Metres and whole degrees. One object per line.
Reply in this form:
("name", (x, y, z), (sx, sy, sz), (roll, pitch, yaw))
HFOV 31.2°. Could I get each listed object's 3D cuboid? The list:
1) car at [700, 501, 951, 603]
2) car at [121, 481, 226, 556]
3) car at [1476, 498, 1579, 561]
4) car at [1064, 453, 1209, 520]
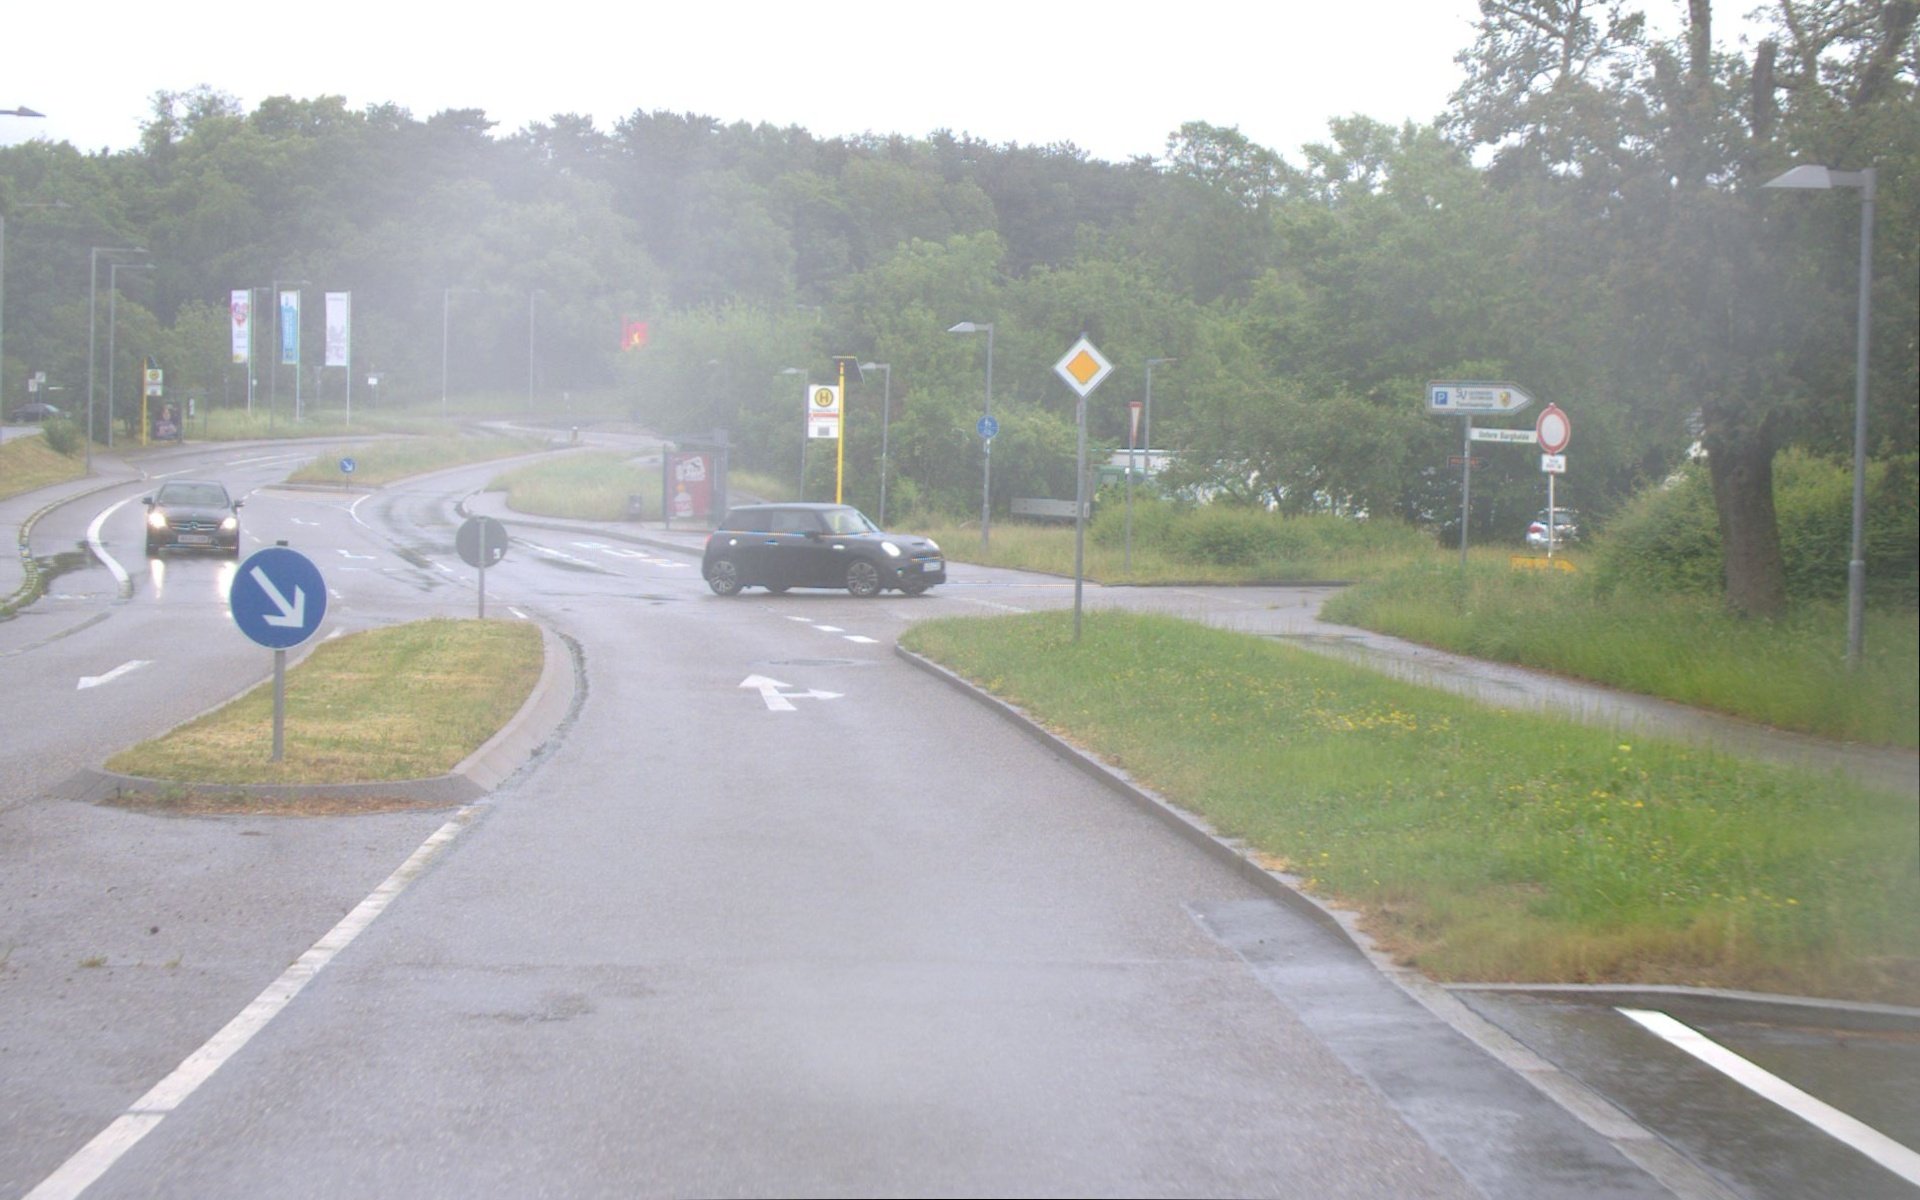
("car", (-2.046, -0.745, 52.544), (3.524, 1.351, 1.459), (3, 2, 12))
("car", (-15.755, -1.652, 68.952), (1.967, 1.409, 4.417), (-1, 2, -12))
("car", (15.103, -1.894, 91.643), (1.930, 1.502, 4.001), (0, 3, -2))
("car", (4.848, -3.105, 94.558), (3.419, 1.684, 1.995), (0, -2, 37))
